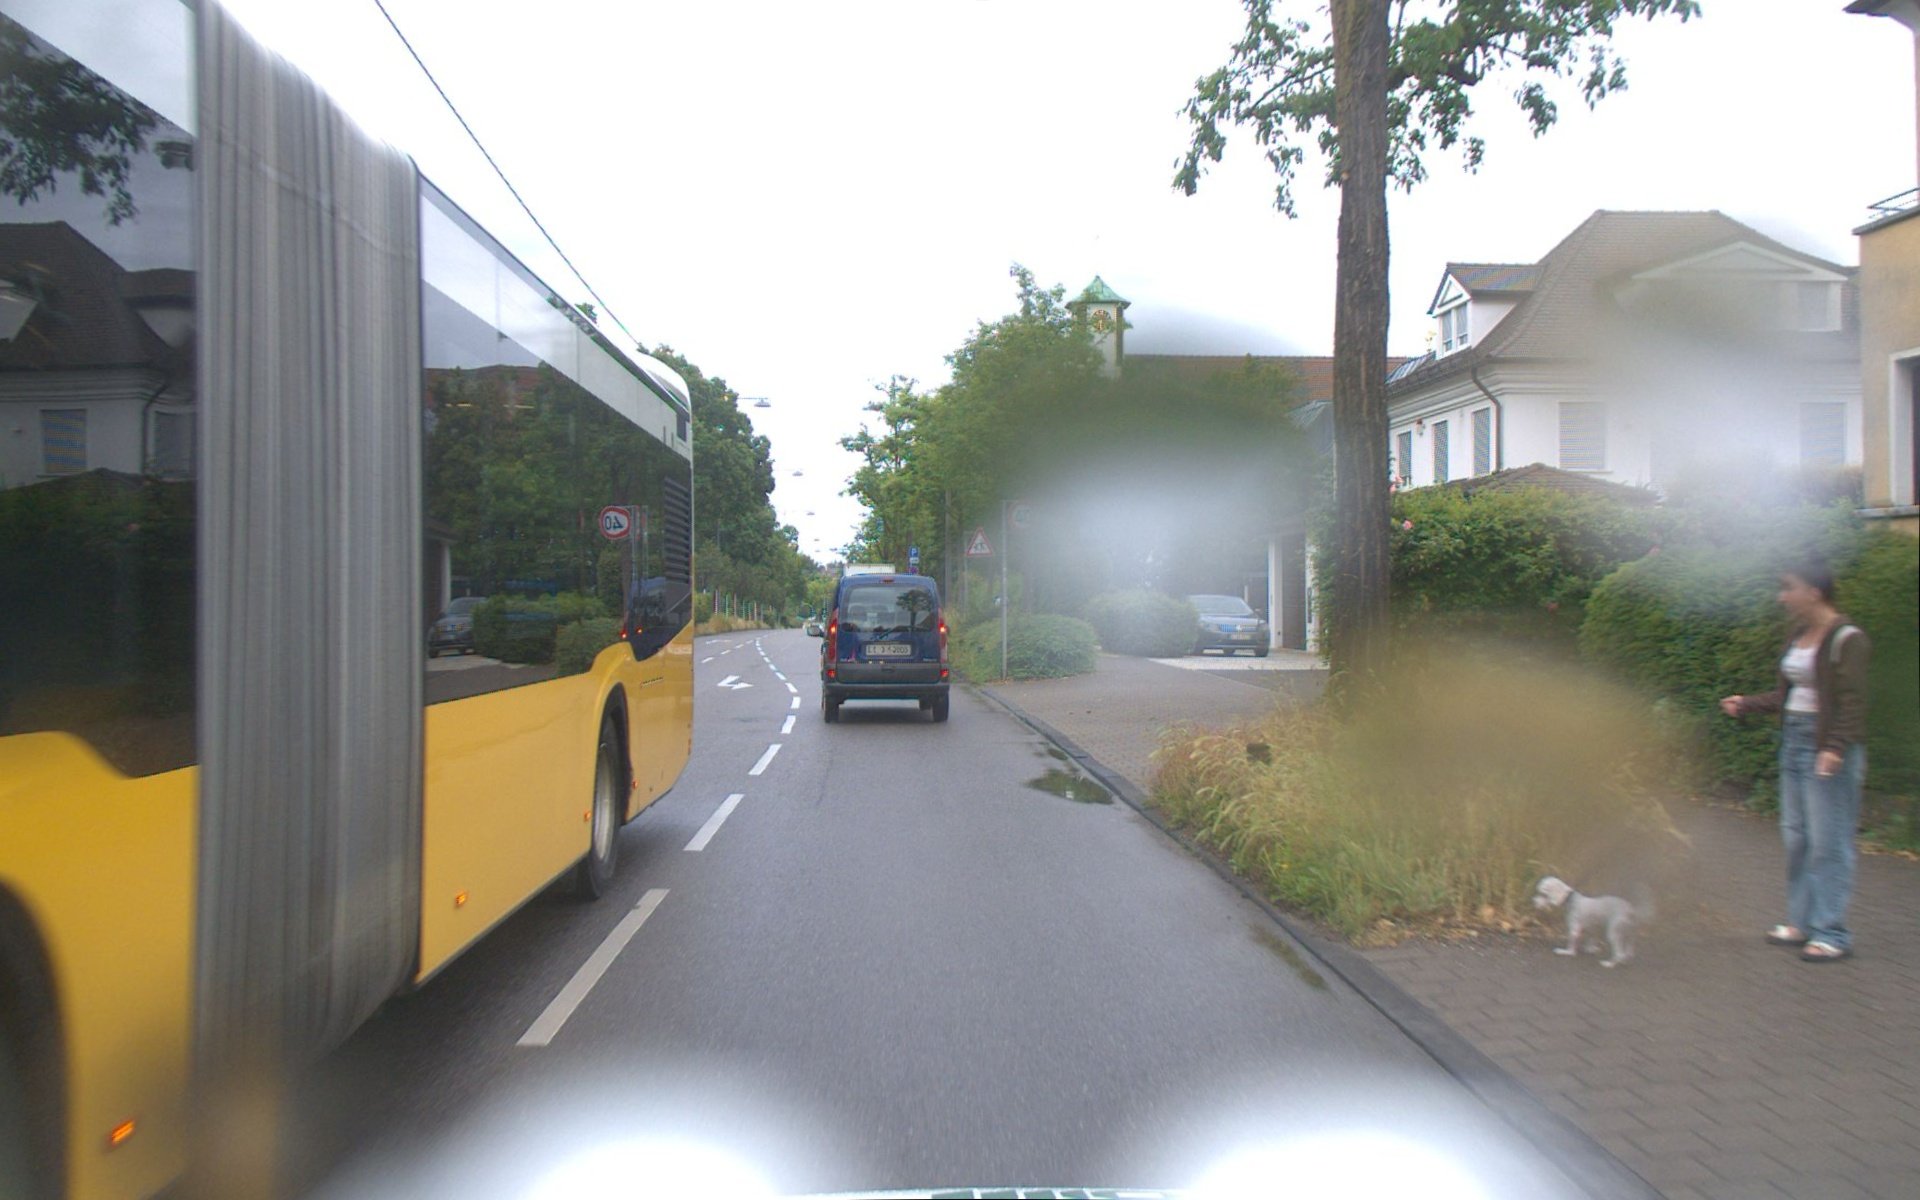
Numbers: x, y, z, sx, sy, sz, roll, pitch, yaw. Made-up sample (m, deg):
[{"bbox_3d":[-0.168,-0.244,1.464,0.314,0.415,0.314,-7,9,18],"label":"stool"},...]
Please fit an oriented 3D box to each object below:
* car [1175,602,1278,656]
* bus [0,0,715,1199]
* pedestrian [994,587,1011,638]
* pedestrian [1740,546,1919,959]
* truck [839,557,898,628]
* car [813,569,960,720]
[{"bbox_3d":[6.303,0.670,39.522,1.794,1.197,3.999,1,0,-1],"label":"car"},{"bbox_3d":[-2.916,-0.198,7.539,2.542,3.213,8.632,0,0,-2],"label":"bus"},{"bbox_3d":[1.452,0.416,56.851,0.550,1.738,0.516,0,0,4],"label":"pedestrian"},{"bbox_3d":[3.418,0.579,6.504,0.472,1.561,0.439,1,0,-5],"label":"pedestrian"},{"bbox_3d":[-4.732,-0.346,84.624,2.679,3.446,6.677,-1,0,-6],"label":"truck"},{"bbox_3d":[-0.979,0.547,22.192,1.772,1.829,3.998,-1,0,-3],"label":"car"}]
